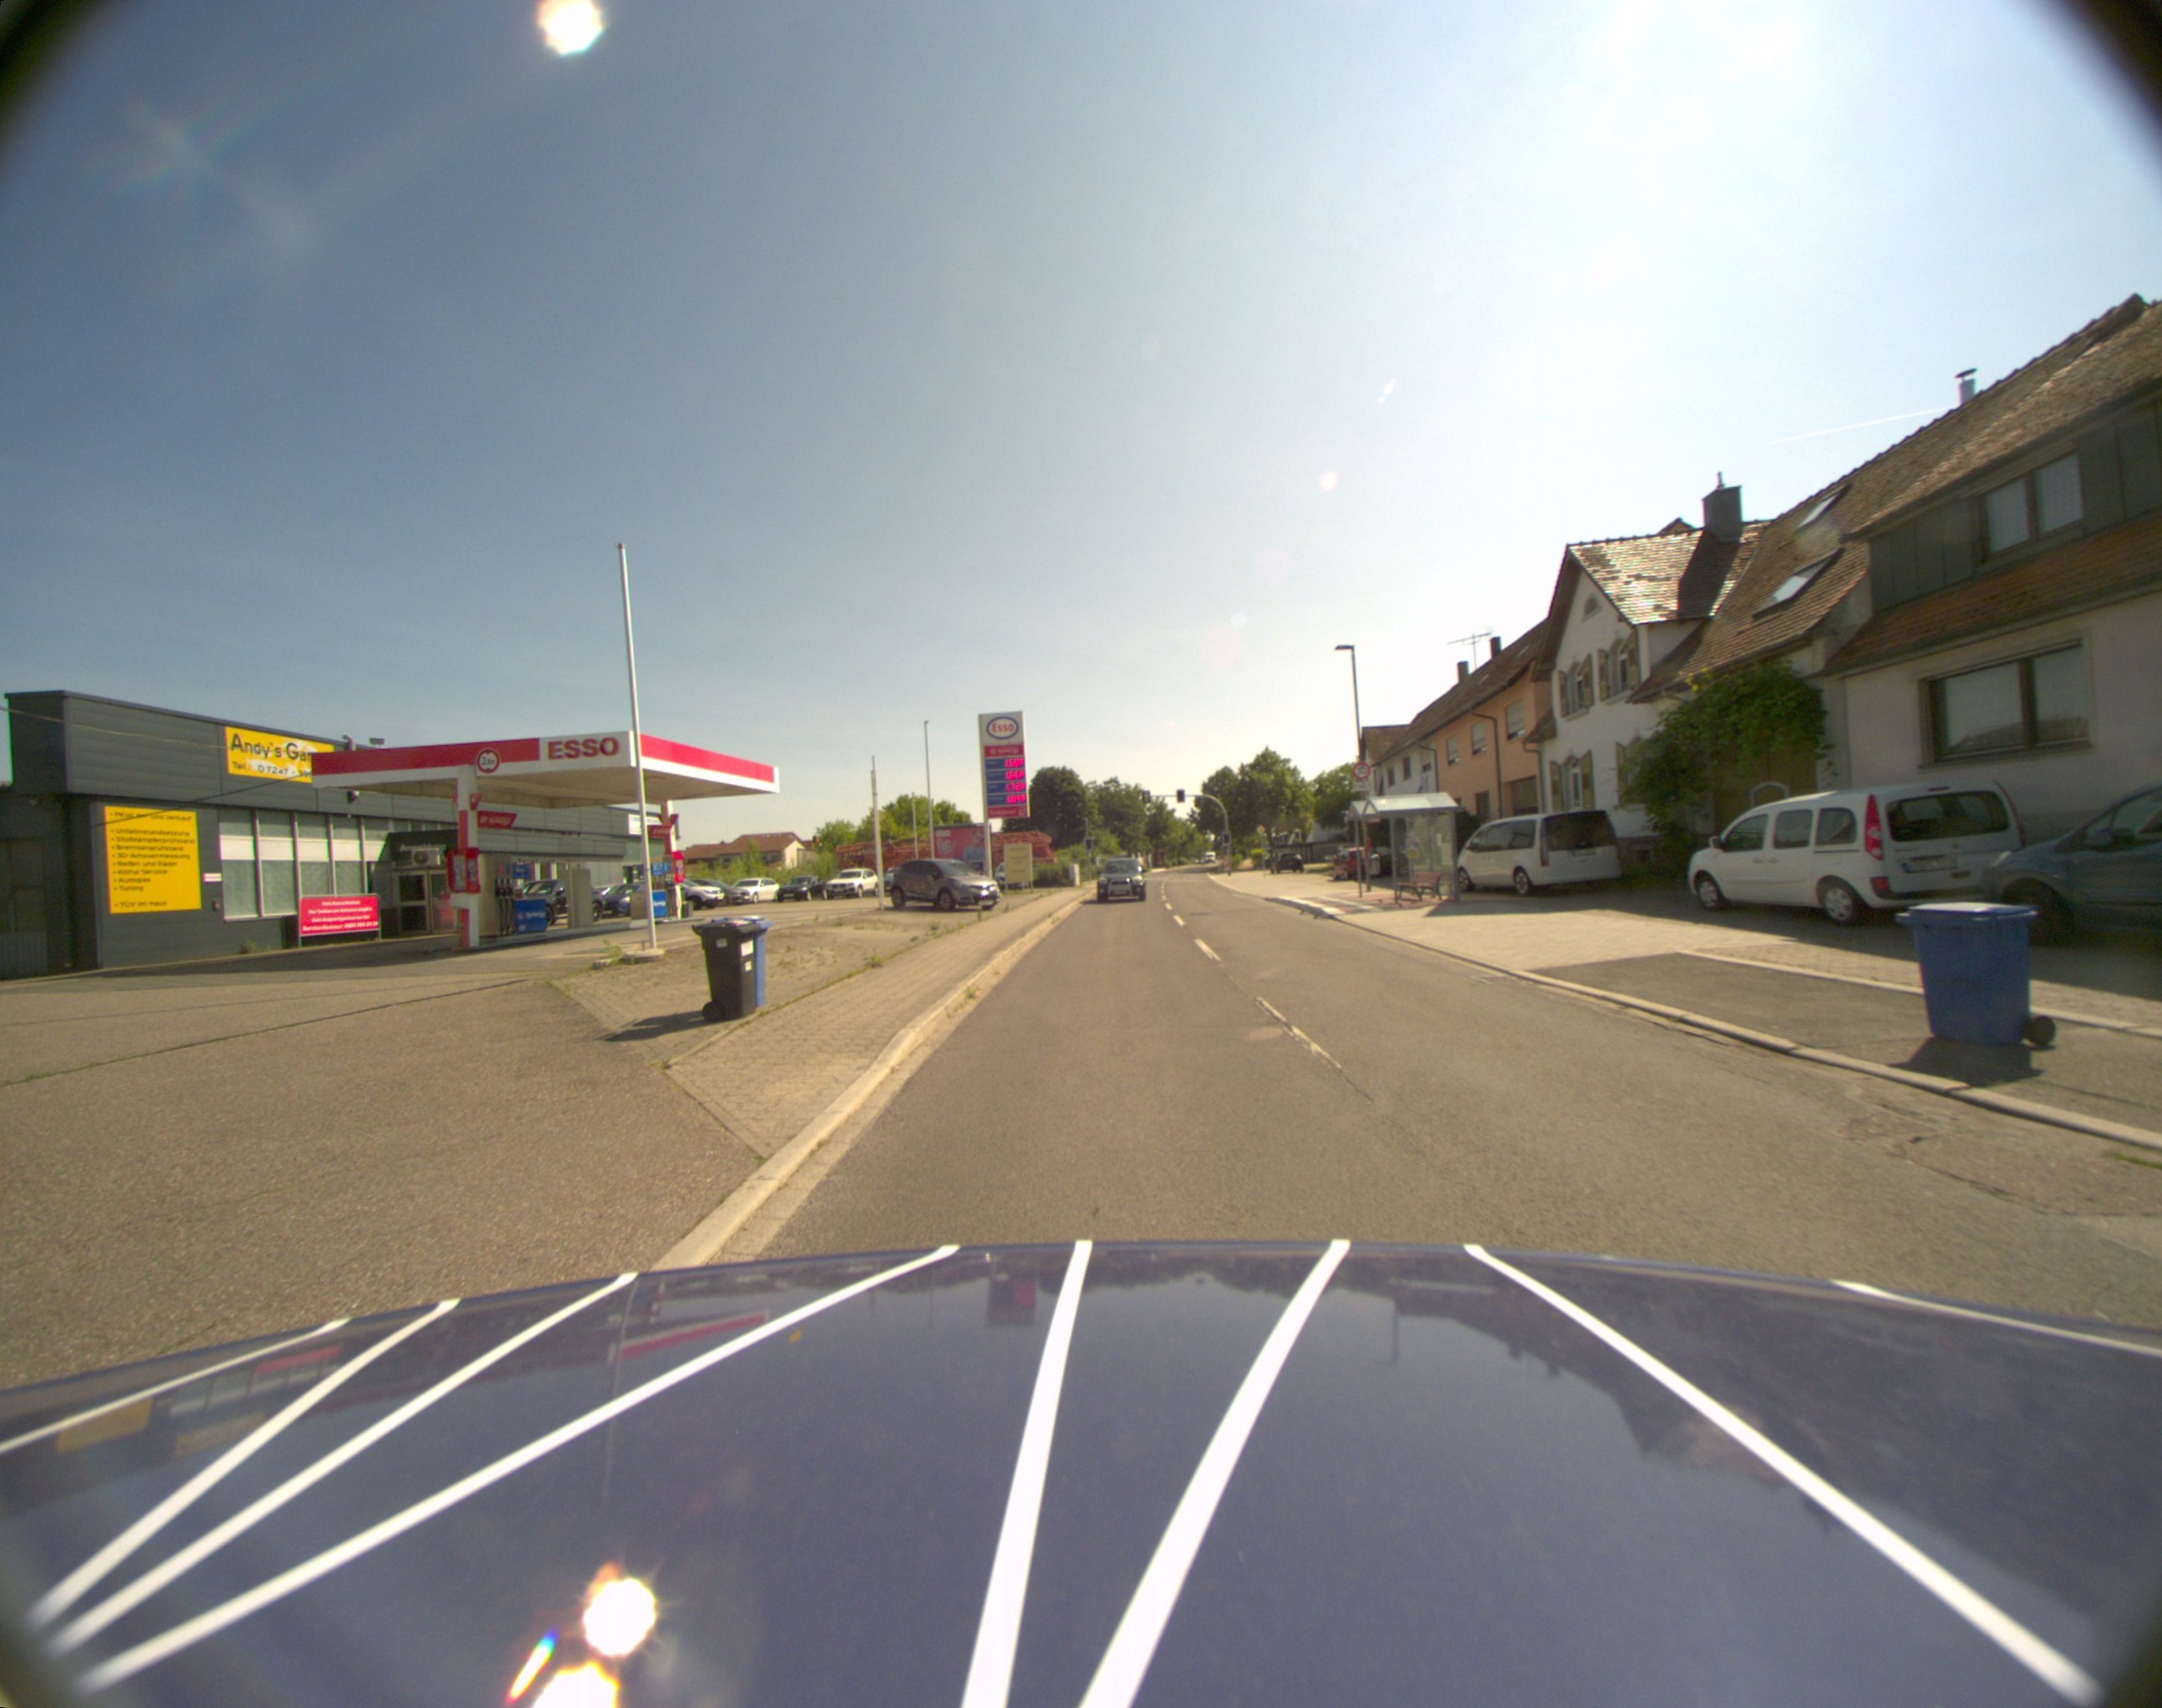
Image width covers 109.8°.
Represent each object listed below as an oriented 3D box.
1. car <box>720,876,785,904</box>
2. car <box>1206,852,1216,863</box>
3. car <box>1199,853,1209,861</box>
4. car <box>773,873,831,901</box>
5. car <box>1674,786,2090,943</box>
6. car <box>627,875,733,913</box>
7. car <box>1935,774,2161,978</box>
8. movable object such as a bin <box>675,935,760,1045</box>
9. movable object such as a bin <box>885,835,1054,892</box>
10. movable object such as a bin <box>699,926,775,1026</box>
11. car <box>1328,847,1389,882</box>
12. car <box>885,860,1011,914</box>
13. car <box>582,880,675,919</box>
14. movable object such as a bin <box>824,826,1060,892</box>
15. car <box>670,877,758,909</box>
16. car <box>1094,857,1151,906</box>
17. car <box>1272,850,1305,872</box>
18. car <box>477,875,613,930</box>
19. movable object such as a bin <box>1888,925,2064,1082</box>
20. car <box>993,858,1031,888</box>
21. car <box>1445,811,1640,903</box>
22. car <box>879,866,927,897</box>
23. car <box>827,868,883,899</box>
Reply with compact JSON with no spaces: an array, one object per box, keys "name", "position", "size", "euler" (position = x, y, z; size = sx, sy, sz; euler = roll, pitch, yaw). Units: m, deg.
[{"name":"car","position":[-18.769,2.007,43.596],"size":[1.846,1.378,4.375],"euler":[-2,0,-1]},{"name":"car","position":[29.226,0.717,170.851],"size":[1.937,2.488,5.843],"euler":[-2,0,11]},{"name":"car","position":[25.296,0.653,156.222],"size":[1.844,1.582,4.109],"euler":[-2,0,11]},{"name":"car","position":[-15.921,1.880,43.575],"size":[1.846,1.378,3.999],"euler":[-2,0,-1]},{"name":"car","position":[11.068,0.129,11.090],"size":[1.971,1.764,4.280],"euler":[-3,0,10]},{"name":"car","position":[-19.452,1.921,37.003],"size":[4.151,1.624,1.812],"euler":[-2,0,1]},{"name":"car","position":[10.258,0.121,6.369],"size":[1.840,1.782,4.347],"euler":[-5,-1,13]},{"name":"movable object such as a bin","position":[-3.427,1.266,7.200],"size":[0.559,0.931,0.514],"euler":[-2,0,-5]},{"name":"movable object such as a bin","position":[-9.062,0.813,62.487],"size":[13.283,4.140,2.864],"euler":[-2,0,4]},{"name":"movable object such as a bin","position":[-3.550,1.243,7.869],"size":[0.559,0.933,0.514],"euler":[-2,0,-5]},{"name":"car","position":[12.977,0.520,35.714],"size":[1.718,1.444,3.917],"euler":[-3,-2,6]},{"name":"car","position":[-4.264,0.969,23.981],"size":[4.170,1.546,1.778],"euler":[0,0,43]},{"name":"car","position":[-19.722,1.923,33.309],"size":[1.798,1.423,4.125],"euler":[-2,0,-4]},{"name":"movable object such as a bin","position":[-9.676,0.395,53.590],"size":[16.087,3.994,2.775],"euler":[-2,0,4]},{"name":"car","position":[-19.143,2.010,39.767],"size":[3.687,1.465,1.812],"euler":[-2,0,1]},{"name":"car","position":[1.703,1.044,29.672],"size":[1.848,1.686,4.401],"euler":[-3,-2,7]},{"name":"car","position":[14.607,0.484,53.682],"size":[1.718,1.399,4.400],"euler":[-1,1,8]},{"name":"car","position":[-19.207,1.678,27.558],"size":[1.809,1.730,4.818],"euler":[-3,-2,-5]},{"name":"movable object such as a bin","position":[6.109,0.996,5.206],"size":[0.559,0.931,0.514],"euler":[-4,0,-6]},{"name":"car","position":[-4.063,1.140,45.179],"size":[1.808,1.676,4.370],"euler":[-1,-2,1]},{"name":"car","position":[11.725,0.071,19.873],"size":[2.131,1.975,5.266],"euler":[-3,0,4]},{"name":"car","position":[-10.277,1.547,44.093],"size":[1.846,1.582,4.105],"euler":[-2,0,-1]},{"name":"car","position":[-13.039,1.654,44.070],"size":[2.004,1.582,4.338],"euler":[-2,0,-1]}]
